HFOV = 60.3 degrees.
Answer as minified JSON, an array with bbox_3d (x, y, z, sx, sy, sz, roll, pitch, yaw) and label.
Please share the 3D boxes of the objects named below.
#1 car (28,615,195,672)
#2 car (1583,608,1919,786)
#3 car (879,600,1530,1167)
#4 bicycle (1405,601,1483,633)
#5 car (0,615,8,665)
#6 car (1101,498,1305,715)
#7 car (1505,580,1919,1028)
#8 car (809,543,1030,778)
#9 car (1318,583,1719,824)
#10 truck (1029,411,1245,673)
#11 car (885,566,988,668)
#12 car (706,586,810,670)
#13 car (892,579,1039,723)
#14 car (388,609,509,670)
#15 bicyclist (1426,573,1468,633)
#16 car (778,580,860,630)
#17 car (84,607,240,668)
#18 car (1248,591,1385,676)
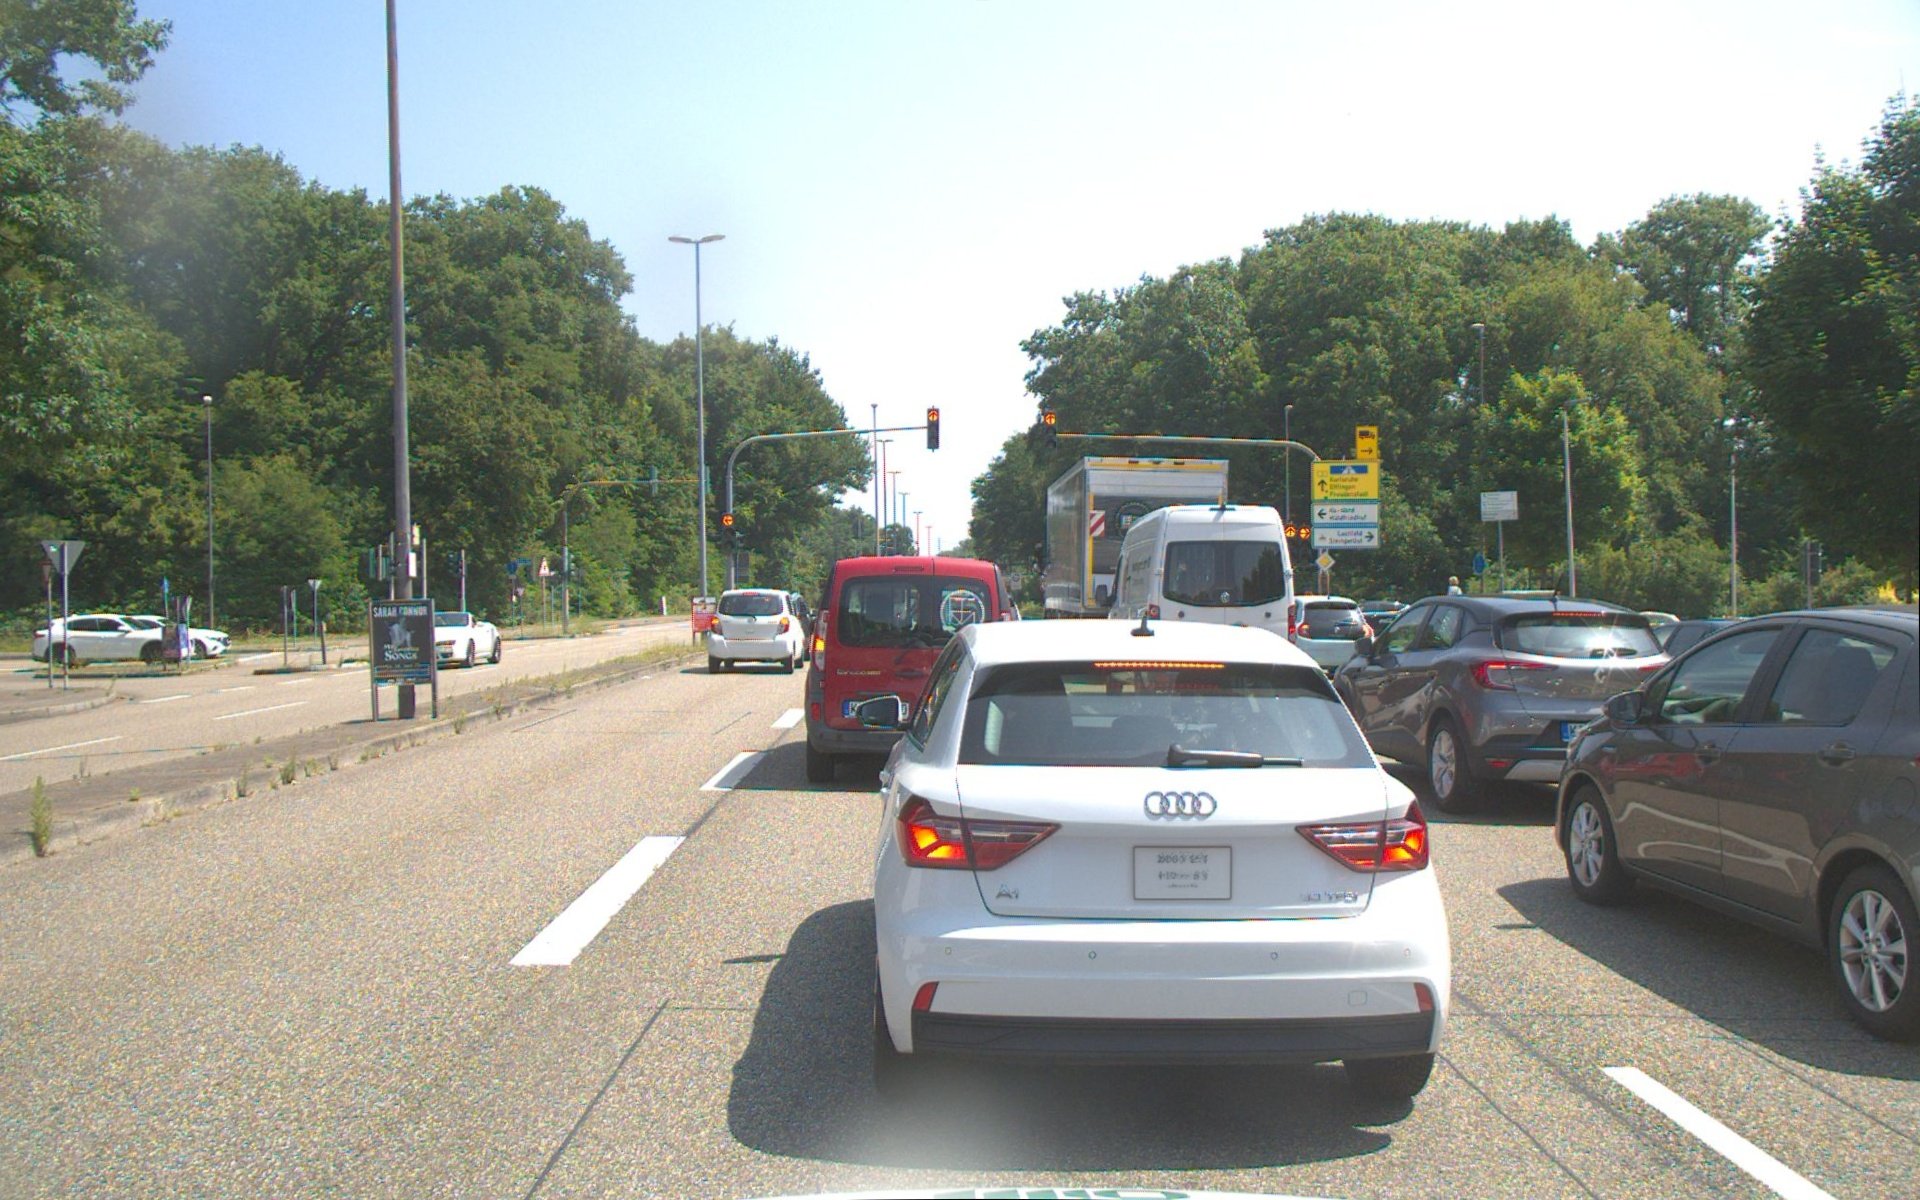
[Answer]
[{"bbox_3d":[-26.748,1.364,52.273,4.290,1.711,1.807,1,-1,-9],"label":"car"},{"bbox_3d":[7.579,0.823,15.850,1.604,1.395,4.145,1,1,-1],"label":"car"},{"bbox_3d":[0.544,0.720,6.270,1.677,1.410,4.090,0,0,-3],"label":"car"},{"bbox_3d":[12.023,0.417,41.129,1.795,0.779,0.597,-1,0,43],"label":"bicycle"},{"bbox_3d":[-34.473,1.314,55.155,4.294,1.711,1.805,1,-1,-13],"label":"car"},{"bbox_3d":[3.237,0.069,23.039,1.990,2.690,4.843,0,0,-2],"label":"car"},{"bbox_3d":[4.012,0.716,7.269,1.678,1.504,4.090,3,0,-3],"label":"car"},{"bbox_3d":[-0.394,0.450,14.586,1.677,1.779,4.090,0,0,-3],"label":"car"},{"bbox_3d":[4.221,0.686,13.225,1.677,1.621,4.090,0,0,-3],"label":"car"},{"bbox_3d":[3.314,-1.039,34.444,3.026,4.511,11.577,1,0,-1],"label":"truck"},{"bbox_3d":[-0.476,0.266,28.948,1.677,1.660,4.090,0,0,-3],"label":"car"},{"bbox_3d":[-3.852,0.501,32.066,1.677,1.519,4.090,0,0,-3],"label":"car"},{"bbox_3d":[-0.016,0.578,21.120,1.677,1.660,4.090,0,0,-3],"label":"car"},{"bbox_3d":[-12.409,0.920,40.383,1.683,1.284,4.300,-3,0,-2],"label":"car"},{"bbox_3d":[12.085,0.070,41.047,0.814,1.464,0.595,-1,0,43],"label":"bicyclist"},{"bbox_3d":[-6.189,0.213,72.062,1.974,2.049,3.956,-1,0,-32],"label":"car"},{"bbox_3d":[-27.009,1.246,56.087,4.291,1.710,1.807,-4,0,-9],"label":"car"},{"bbox_3d":[6.984,0.609,32.791,1.677,1.573,4.090,0,0,-3],"label":"car"}]
